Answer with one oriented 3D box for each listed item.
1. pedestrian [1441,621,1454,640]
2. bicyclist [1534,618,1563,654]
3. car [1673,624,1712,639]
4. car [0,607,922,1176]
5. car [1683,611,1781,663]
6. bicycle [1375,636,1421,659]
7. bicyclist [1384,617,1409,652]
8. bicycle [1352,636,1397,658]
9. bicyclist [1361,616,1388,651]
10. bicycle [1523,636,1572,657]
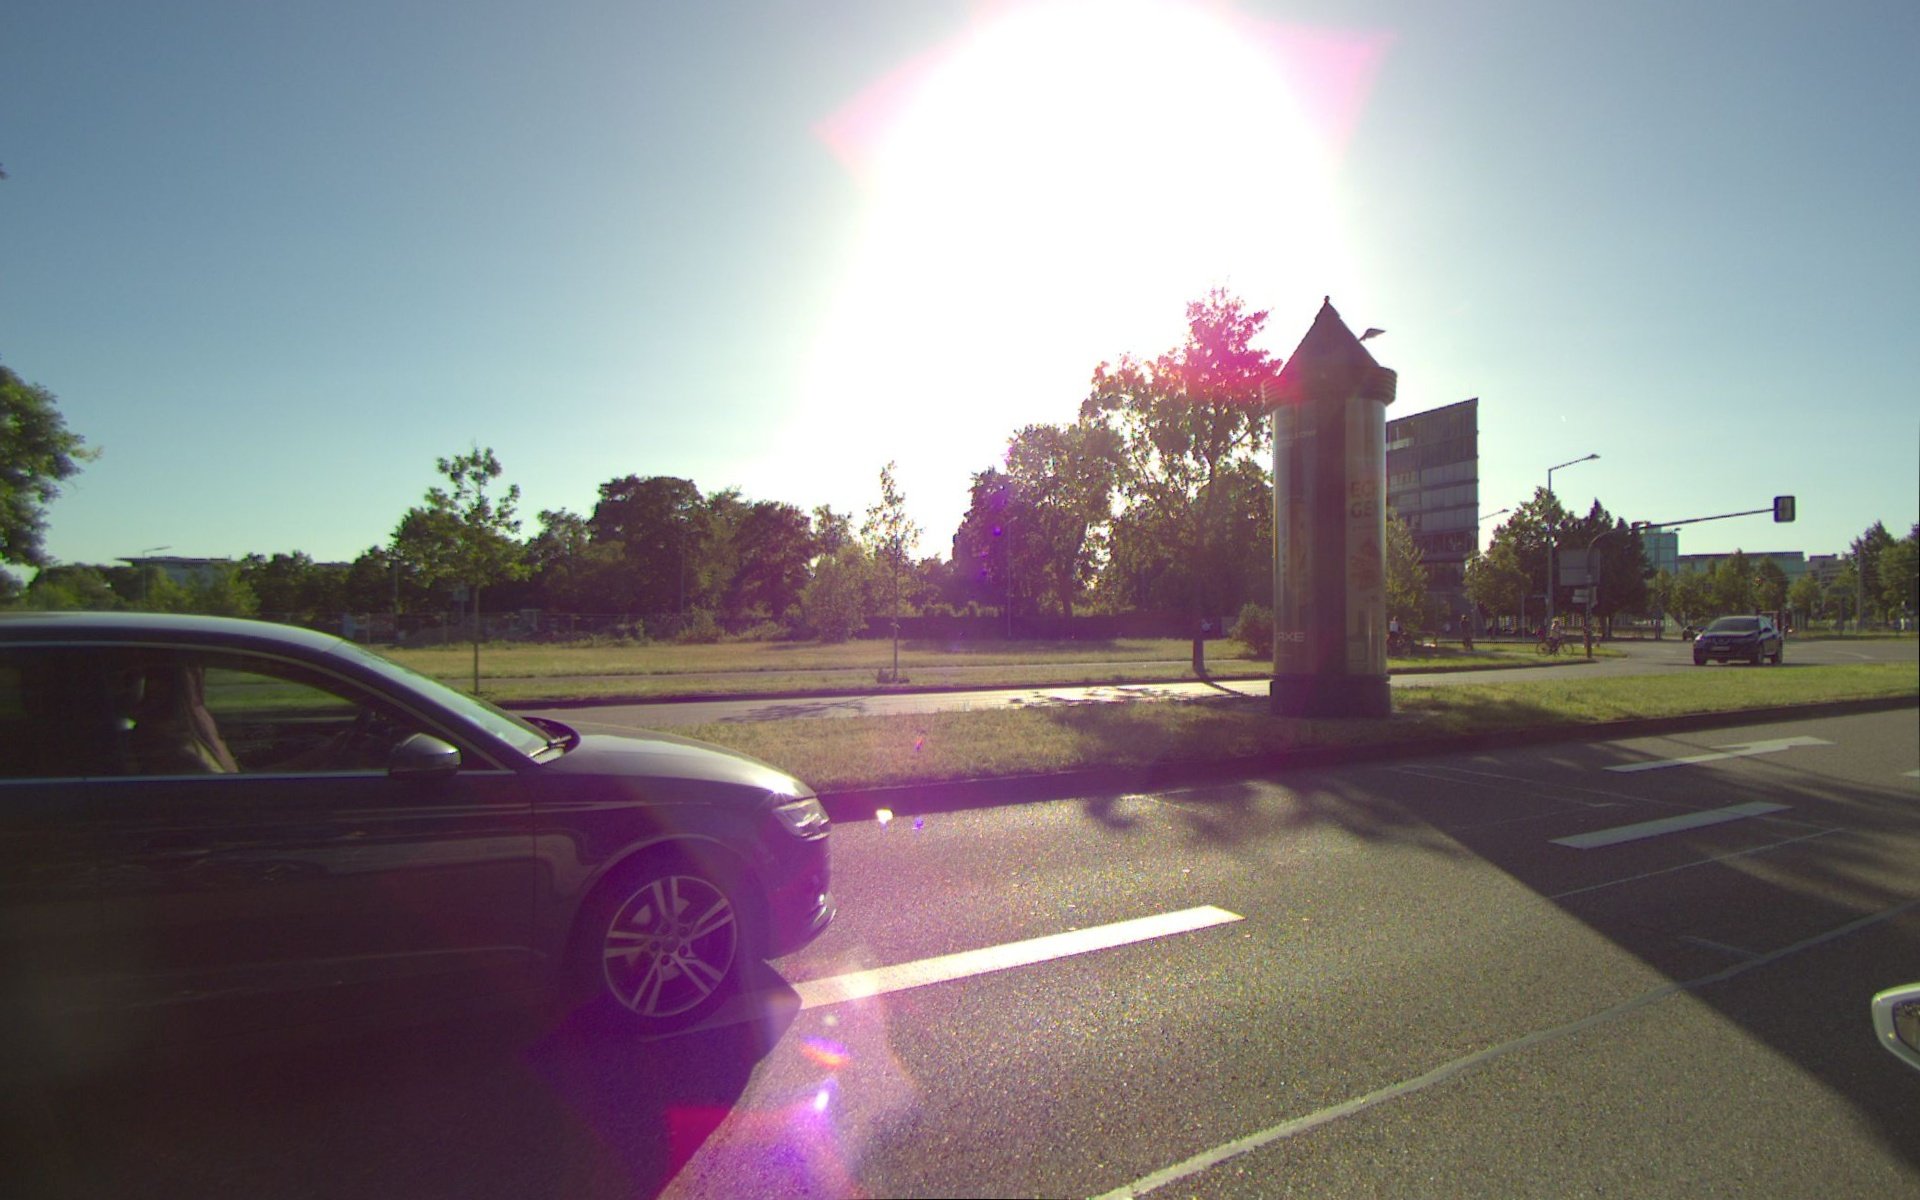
[{"bbox_3d":[42.478,2.628,87.596,0.872,1.651,0.758,-1,-1,39],"label":"pedestrian"},{"bbox_3d":[25.954,1.573,44.302,0.608,1.537,0.920,0,-1,-23],"label":"bicyclist"},{"bbox_3d":[78.442,3.395,107.574,1.969,1.561,4.327,0,-1,15],"label":"car"},{"bbox_3d":[-2.418,0.732,3.488,4.313,1.398,1.750,1,-1,-34],"label":"car"},{"bbox_3d":[27.695,1.307,35.988,4.702,1.762,1.976,2,-2,-42],"label":"car"},{"bbox_3d":[17.664,1.912,40.538,1.863,0.864,0.613,0,-1,-24],"label":"bicycle"},{"bbox_3d":[17.603,1.384,40.501,0.709,1.411,0.614,0,-1,-24],"label":"bicyclist"},{"bbox_3d":[17.190,1.952,41.627,1.863,0.864,0.613,0,-1,-24],"label":"bicycle"},{"bbox_3d":[17.179,1.378,41.636,0.826,1.411,0.614,0,-1,-24],"label":"bicyclist"},{"bbox_3d":[25.932,2.044,44.343,0.608,0.864,1.878,0,-1,-23],"label":"bicycle"}]
